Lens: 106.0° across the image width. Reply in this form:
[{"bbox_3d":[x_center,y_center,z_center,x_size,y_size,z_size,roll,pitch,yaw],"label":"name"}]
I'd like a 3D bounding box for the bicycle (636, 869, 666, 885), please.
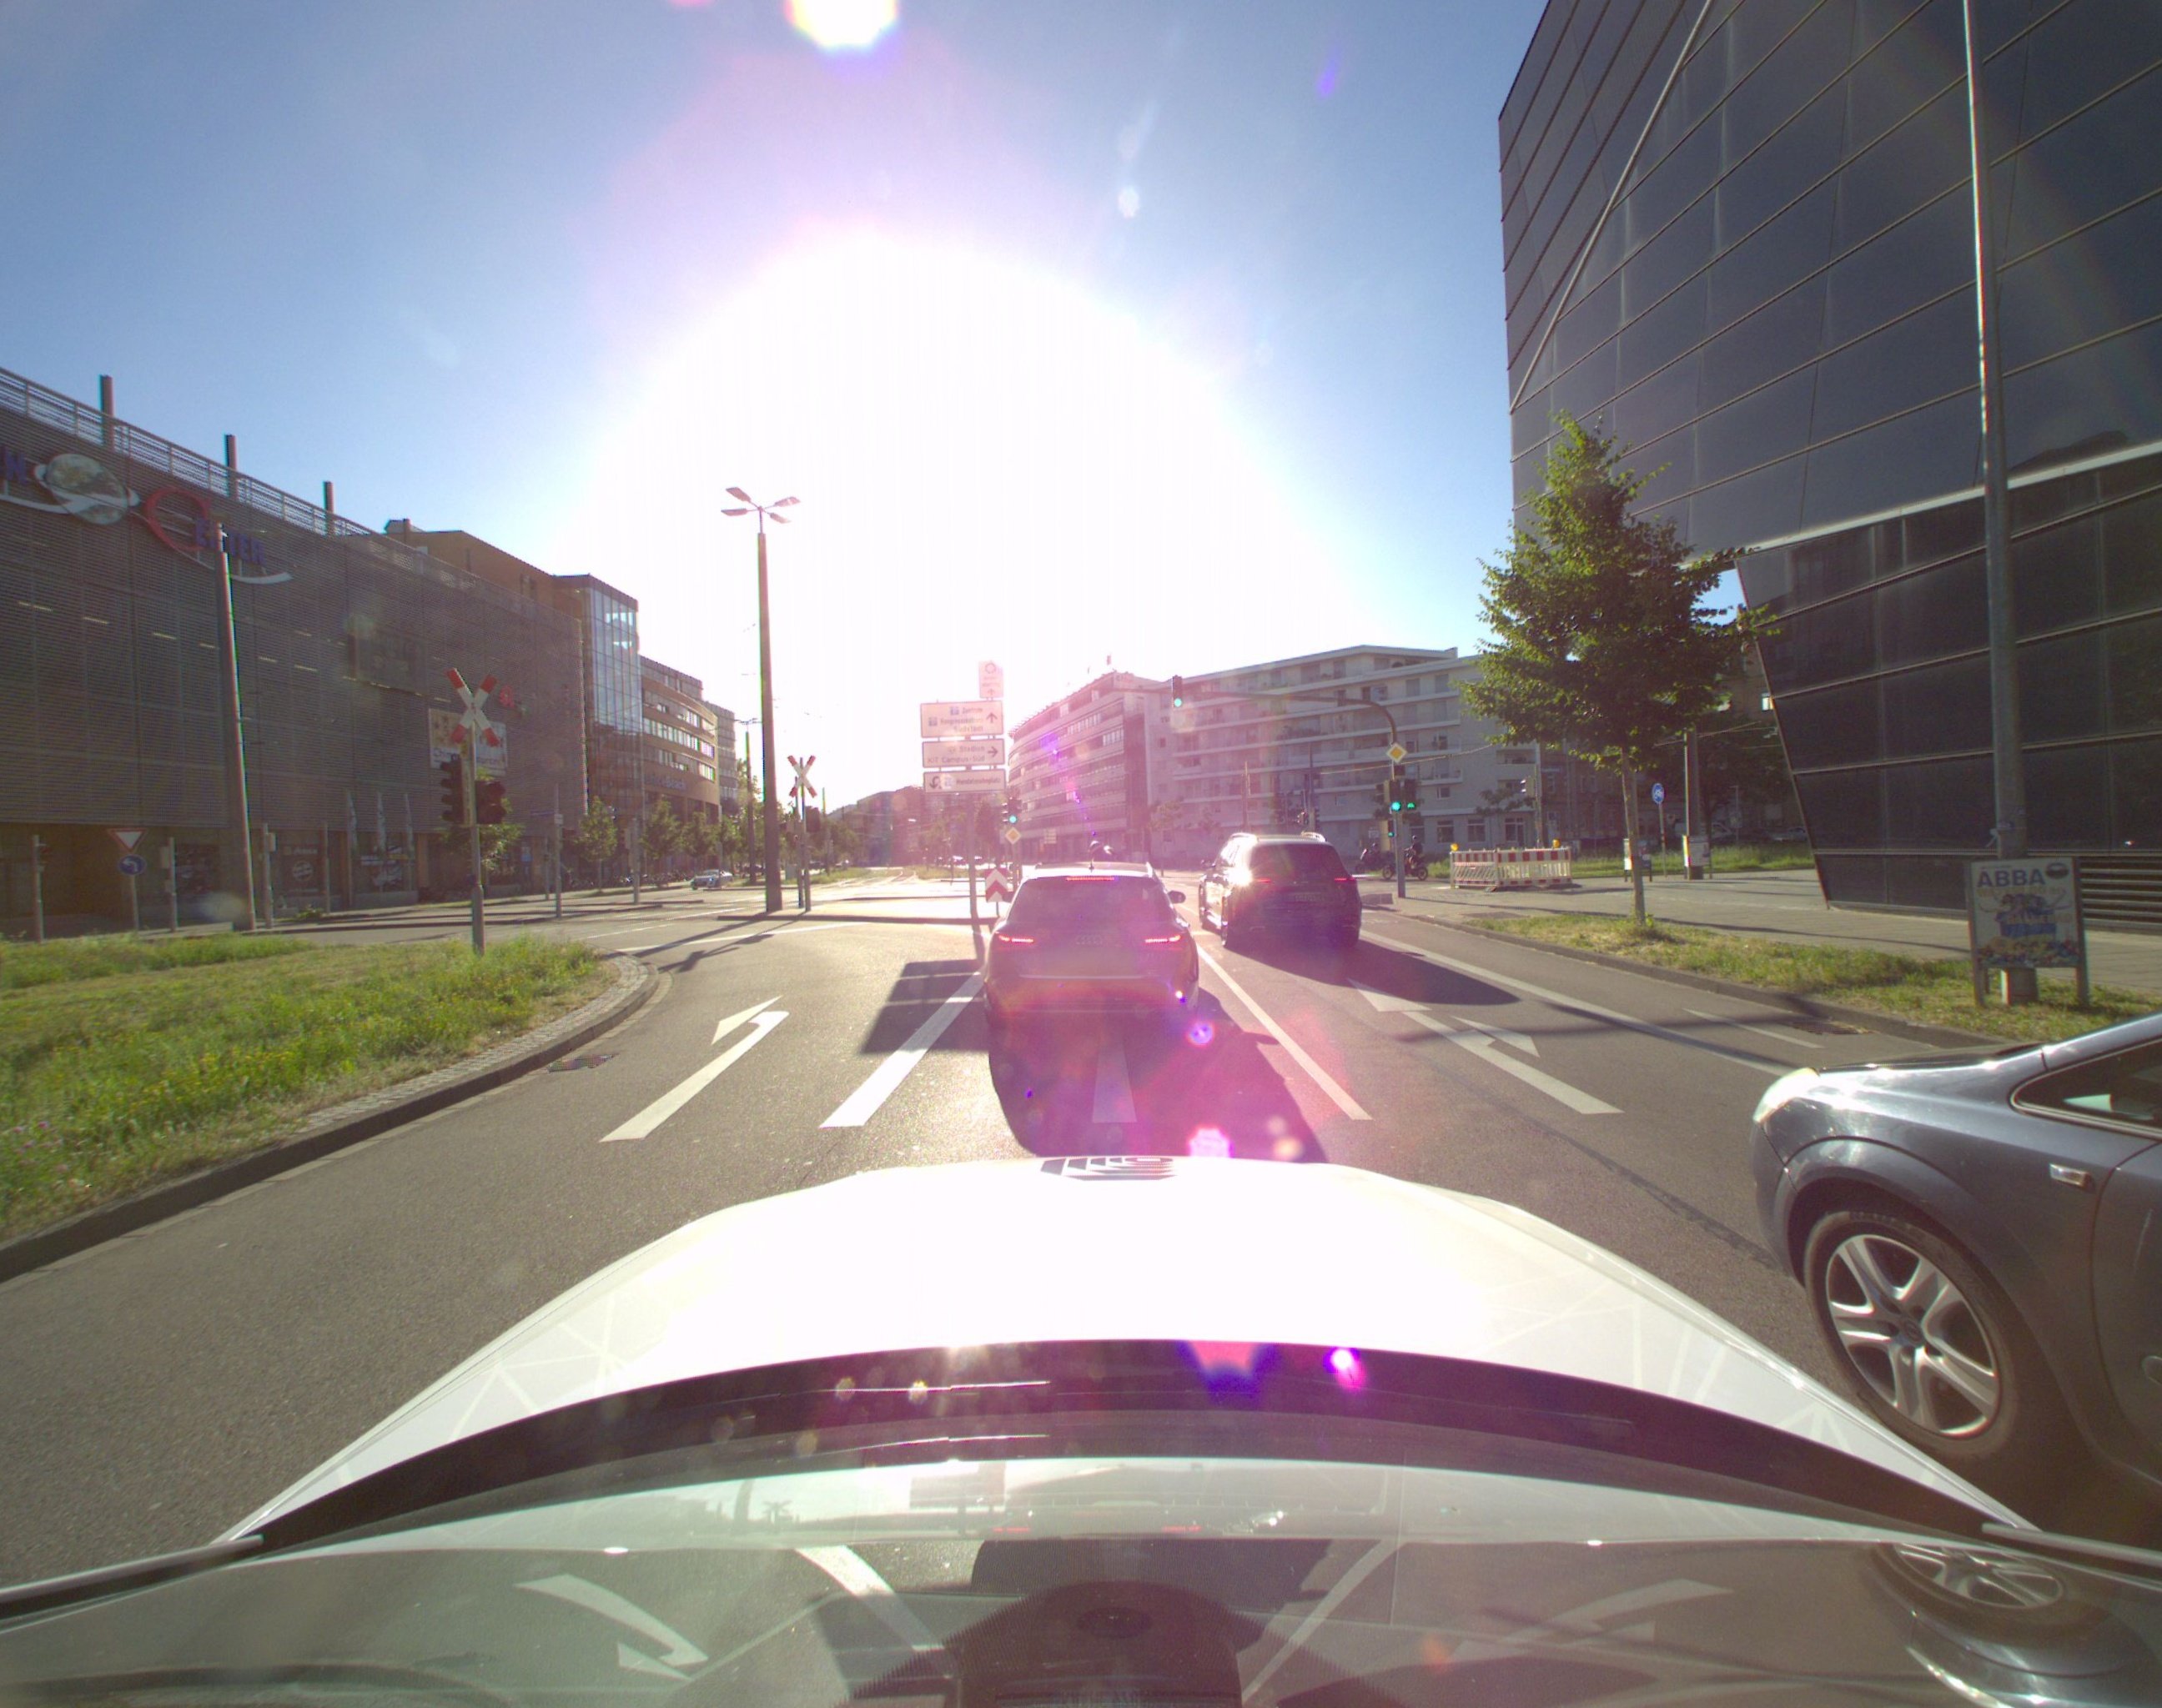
[{"bbox_3d":[-43.472,2.321,82.356,2.546,1.433,0.907,-3,-1,10],"label":"bicycle"}]

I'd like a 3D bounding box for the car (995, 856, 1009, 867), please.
[{"bbox_3d":[-14.538,1.329,149.792,1.996,1.838,3.981,-3,-1,-14],"label":"car"}]

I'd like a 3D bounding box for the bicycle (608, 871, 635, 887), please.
[{"bbox_3d":[-43.685,2.351,77.465,2.070,1.433,0.863,-3,-1,10],"label":"bicycle"}]

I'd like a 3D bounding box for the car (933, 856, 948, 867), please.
[{"bbox_3d":[-25.125,1.367,145.572,1.998,1.706,3.977,-3,-1,-16],"label":"car"}]

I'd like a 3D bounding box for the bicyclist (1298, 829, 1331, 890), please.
[{"bbox_3d":[6.488,0.148,22.640,0.651,1.642,0.973,-2,0,5],"label":"bicyclist"}]

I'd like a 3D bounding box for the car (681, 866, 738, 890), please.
[{"bbox_3d":[-27.767,1.758,60.966,1.986,1.545,4.532,-2,0,2],"label":"car"}]

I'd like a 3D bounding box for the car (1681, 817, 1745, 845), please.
[{"bbox_3d":[58.793,-2.106,75.849,4.543,2.310,2.013,-2,0,37],"label":"car"}]

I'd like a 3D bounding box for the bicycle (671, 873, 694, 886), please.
[{"bbox_3d":[-47.277,2.996,96.619,2.405,1.433,0.791,-3,-1,10],"label":"bicycle"}]

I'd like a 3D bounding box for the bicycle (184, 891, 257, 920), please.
[{"bbox_3d":[-41.847,2.493,39.646,0.796,1.220,2.418,-2,0,5],"label":"bicycle"}]

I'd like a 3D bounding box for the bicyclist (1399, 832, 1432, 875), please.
[{"bbox_3d":[13.655,-0.028,33.264,0.772,1.706,0.919,-2,0,-38],"label":"bicyclist"}]

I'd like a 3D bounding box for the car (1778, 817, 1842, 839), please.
[{"bbox_3d":[58.500,-2.063,65.419,1.981,1.486,4.012,-3,-1,11],"label":"car"}]

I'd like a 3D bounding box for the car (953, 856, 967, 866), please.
[{"bbox_3d":[-20.822,1.234,140.248,1.996,1.596,3.981,-3,-1,-14],"label":"car"}]

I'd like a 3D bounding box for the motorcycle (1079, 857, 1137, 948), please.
[{"bbox_3d":[0.459,0.764,13.761,0.859,1.393,1.894,-2,0,2],"label":"motorcycle"}]

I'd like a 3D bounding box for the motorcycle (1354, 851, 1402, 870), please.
[{"bbox_3d":[17.109,0.389,46.996,2.437,1.000,1.175,-2,0,11],"label":"motorcycle"}]

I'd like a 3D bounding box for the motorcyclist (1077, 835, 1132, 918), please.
[{"bbox_3d":[0.395,0.376,13.637,0.859,1.326,0.681,-2,0,1],"label":"motorcyclist"}]

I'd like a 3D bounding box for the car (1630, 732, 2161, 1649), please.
[{"bbox_3d":[2.868,0.622,0.854,1.740,1.696,4.260,0,0,0],"label":"car"}]

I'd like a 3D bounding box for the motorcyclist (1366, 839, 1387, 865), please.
[{"bbox_3d":[17.042,-0.126,46.996,0.919,1.481,1.175,-2,0,11],"label":"motorcyclist"}]

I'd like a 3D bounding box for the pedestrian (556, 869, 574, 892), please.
[{"bbox_3d":[-42.614,2.207,67.293,0.823,1.824,0.905,-3,-1,3],"label":"pedestrian"}]

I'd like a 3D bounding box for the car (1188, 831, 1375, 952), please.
[{"bbox_3d":[3.155,0.517,13.819,1.997,1.715,4.369,0,0,-2],"label":"car"}]

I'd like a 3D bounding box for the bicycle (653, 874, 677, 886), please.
[{"bbox_3d":[-47.271,2.988,92.554,2.399,1.236,0.747,-3,-1,10],"label":"bicycle"}]

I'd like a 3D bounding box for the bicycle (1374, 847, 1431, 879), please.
[{"bbox_3d":[13.299,0.387,33.722,0.772,1.262,2.058,-2,0,-38],"label":"bicycle"}]

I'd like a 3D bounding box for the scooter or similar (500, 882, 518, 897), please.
[{"bbox_3d":[-42.959,2.675,61.180,0.419,1.110,1.153,-3,-1,2],"label":"scooter or similar"}]

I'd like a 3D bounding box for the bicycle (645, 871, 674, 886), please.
[{"bbox_3d":[-43.801,2.550,84.612,2.546,1.433,0.907,-3,-1,10],"label":"bicycle"}]

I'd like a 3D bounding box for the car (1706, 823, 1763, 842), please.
[{"bbox_3d":[54.183,-1.768,67.616,1.981,1.354,4.012,-3,-1,11],"label":"car"}]

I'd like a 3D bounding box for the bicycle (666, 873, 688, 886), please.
[{"bbox_3d":[-47.415,2.996,95.584,2.125,1.433,0.761,-3,-1,10],"label":"bicycle"}]

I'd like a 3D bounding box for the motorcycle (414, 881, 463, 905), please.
[{"bbox_3d":[-42.673,2.571,54.134,0.962,1.446,2.619,-2,0,5],"label":"motorcycle"}]

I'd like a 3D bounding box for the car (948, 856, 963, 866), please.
[{"bbox_3d":[-22.528,1.221,146.283,1.998,1.706,3.977,-3,-1,-16],"label":"car"}]

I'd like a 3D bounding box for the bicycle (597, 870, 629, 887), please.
[{"bbox_3d":[-43.885,2.299,76.396,2.355,1.433,1.079,-3,-1,10],"label":"bicycle"}]

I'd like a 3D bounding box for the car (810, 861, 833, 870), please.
[{"bbox_3d":[-53.969,2.335,169.487,1.975,1.640,4.437,-2,0,25],"label":"car"}]

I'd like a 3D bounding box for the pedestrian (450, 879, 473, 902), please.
[{"bbox_3d":[-44.270,2.616,58.184,0.984,1.566,0.829,-3,-1,1],"label":"pedestrian"}]

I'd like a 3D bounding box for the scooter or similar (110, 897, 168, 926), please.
[{"bbox_3d":[-43.737,2.645,37.817,0.790,1.207,1.575,-3,-1,2],"label":"scooter or similar"}]

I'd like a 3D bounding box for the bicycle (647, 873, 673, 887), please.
[{"bbox_3d":[-47.155,2.894,91.123,2.591,1.433,0.773,-3,-1,10],"label":"bicycle"}]

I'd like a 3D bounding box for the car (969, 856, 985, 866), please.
[{"bbox_3d":[-17.527,1.171,137.738,1.998,1.596,3.976,-3,-1,-17],"label":"car"}]

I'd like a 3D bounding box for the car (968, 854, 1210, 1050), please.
[{"bbox_3d":[0.112,0.746,8.221,1.835,1.454,4.001,0,0,1],"label":"car"}]

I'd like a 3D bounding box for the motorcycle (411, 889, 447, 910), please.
[{"bbox_3d":[-41.789,2.916,52.230,0.673,1.238,1.894,-3,-1,1],"label":"motorcycle"}]

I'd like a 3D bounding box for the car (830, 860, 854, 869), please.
[{"bbox_3d":[-49.507,2.157,168.693,1.974,1.640,4.440,-2,0,36],"label":"car"}]
